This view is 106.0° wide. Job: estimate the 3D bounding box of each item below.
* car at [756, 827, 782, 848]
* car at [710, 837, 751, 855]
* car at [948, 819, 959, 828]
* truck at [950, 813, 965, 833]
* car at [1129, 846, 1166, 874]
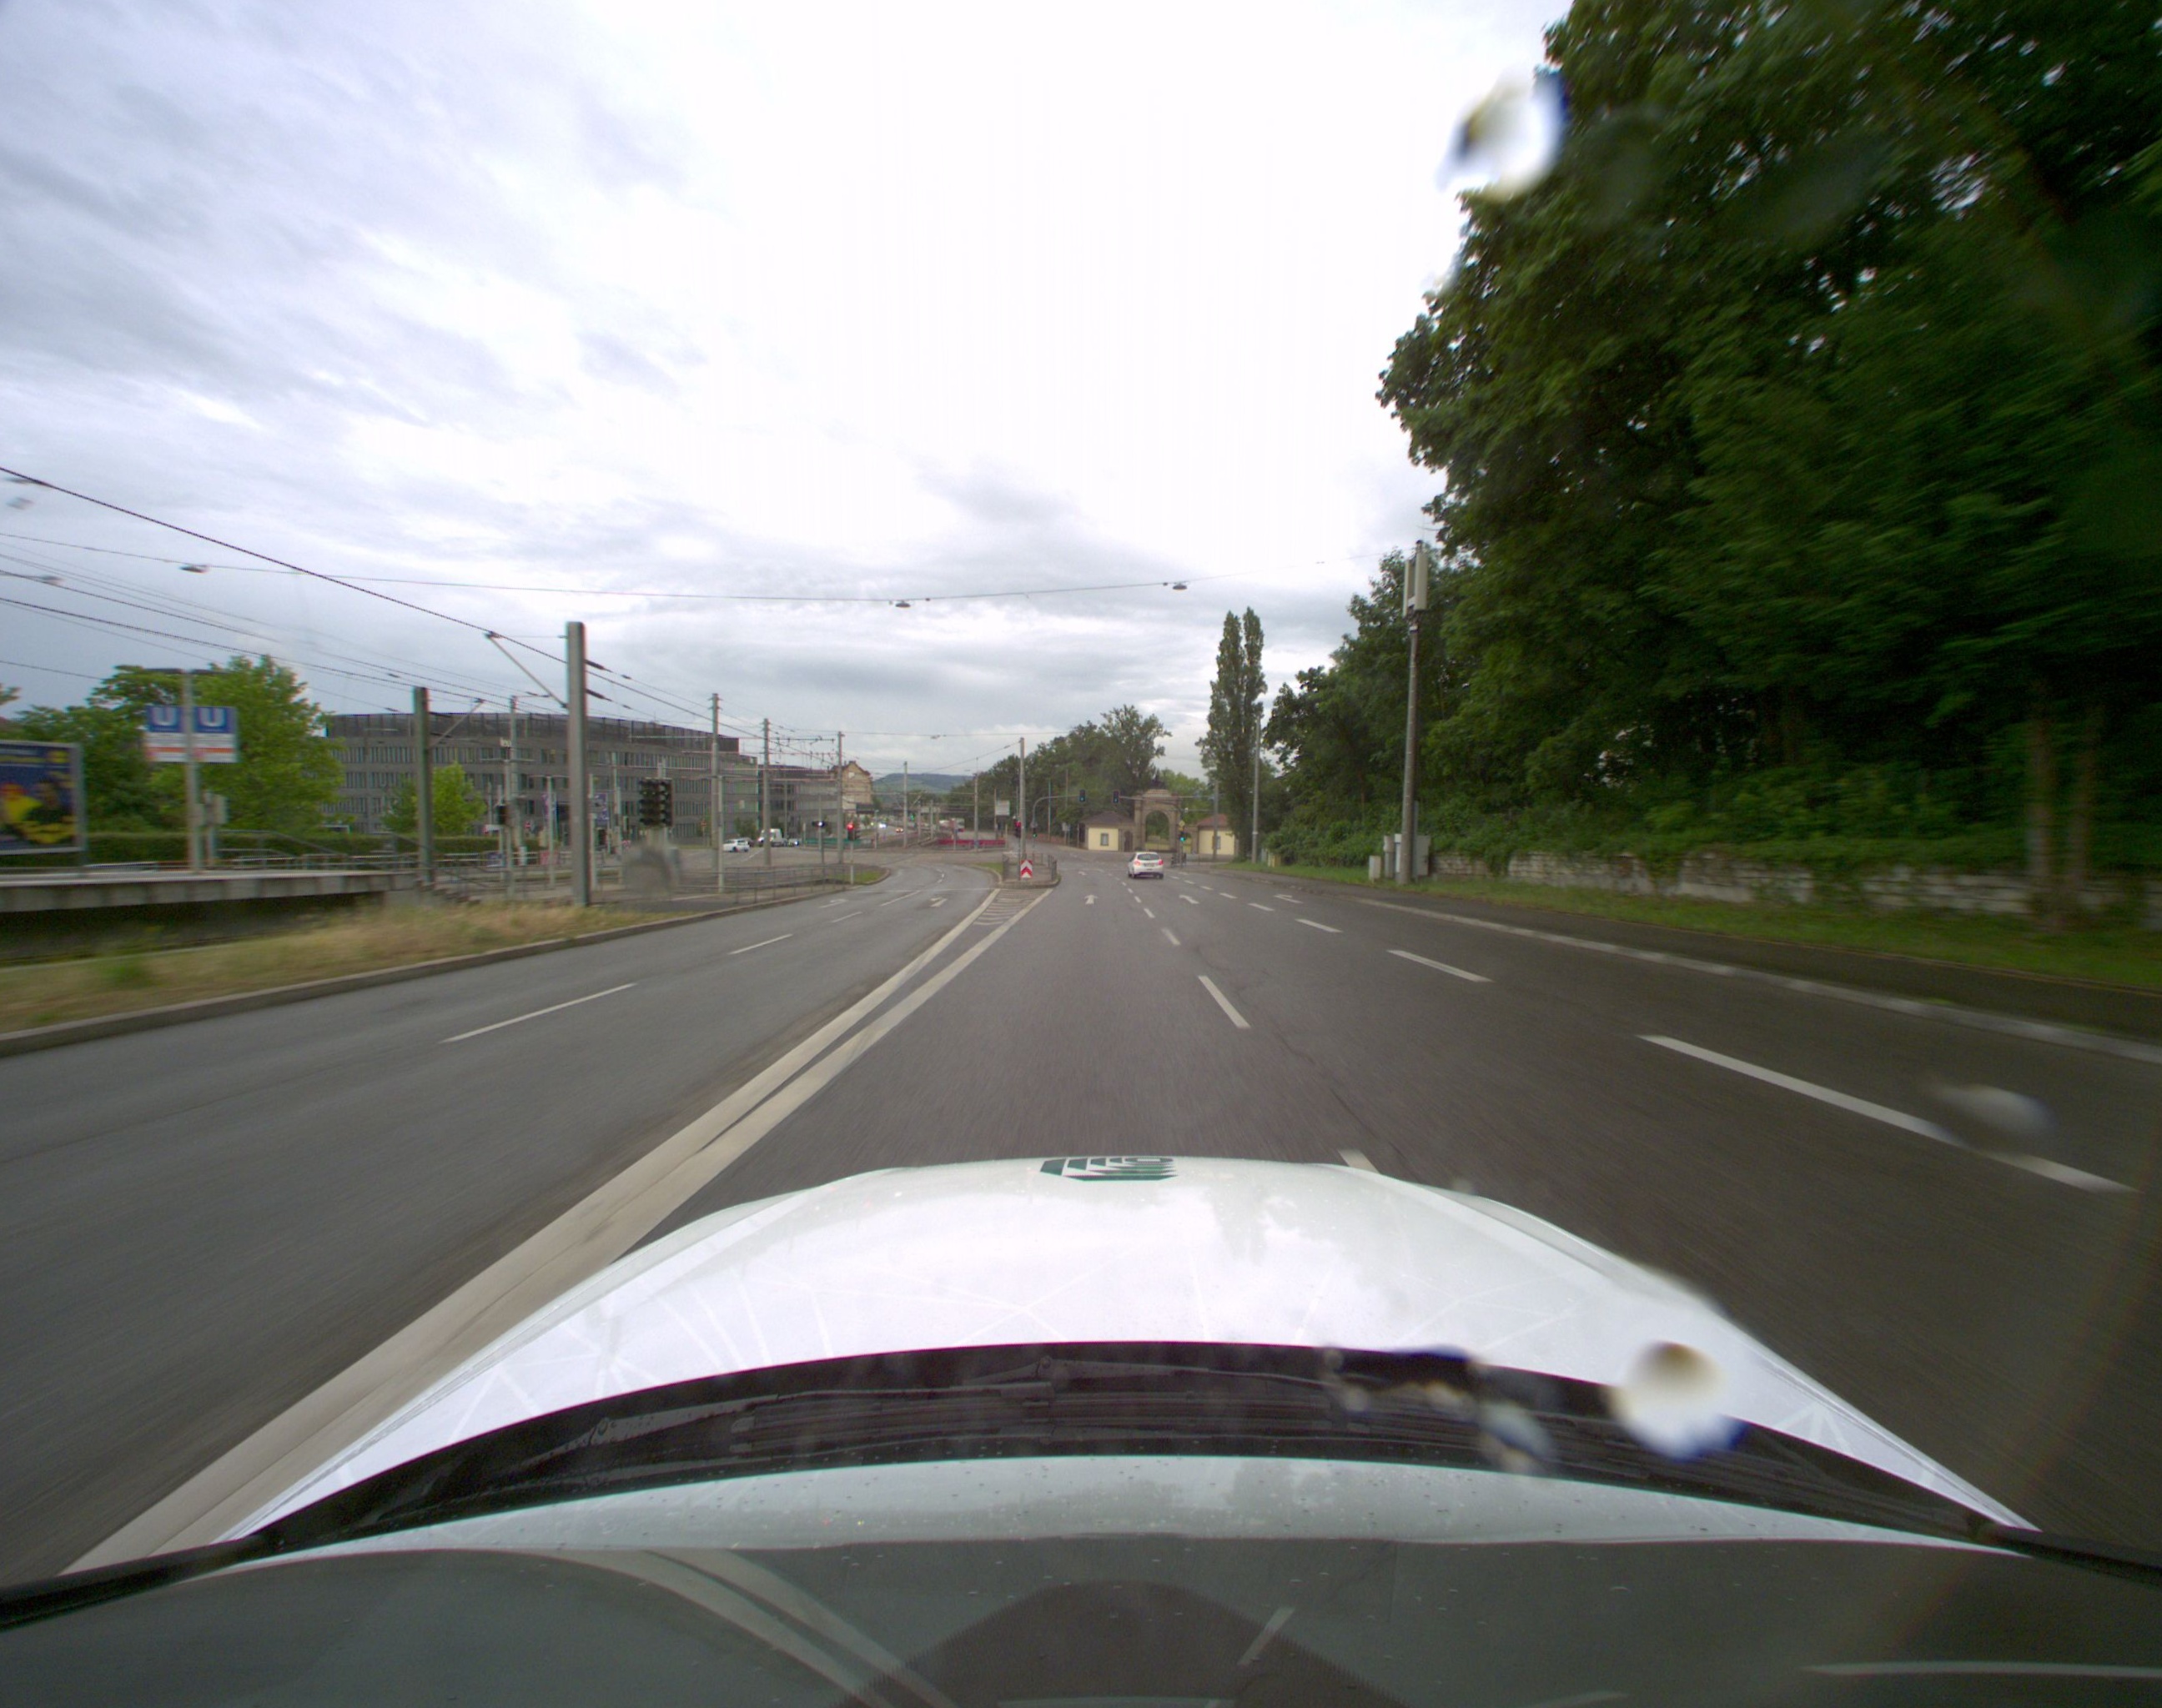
[{"bbox_3d":[-43.639,-2.335,114.032,1.992,2.831,5.705,-2,2,-7],"label":"car"},{"bbox_3d":[-40.368,-0.895,93.768,3.956,2.014,2.009,0,-1,17],"label":"car"},{"bbox_3d":[-28.355,-6.822,181.511,1.998,1.872,3.979,-2,2,-16],"label":"car"},{"bbox_3d":[-37.535,-9.334,247.527,3.470,5.400,11.992,0,-1,-14],"label":"truck"},{"bbox_3d":[3.726,0.358,46.144,1.948,1.488,4.002,0,-1,2],"label":"car"}]
